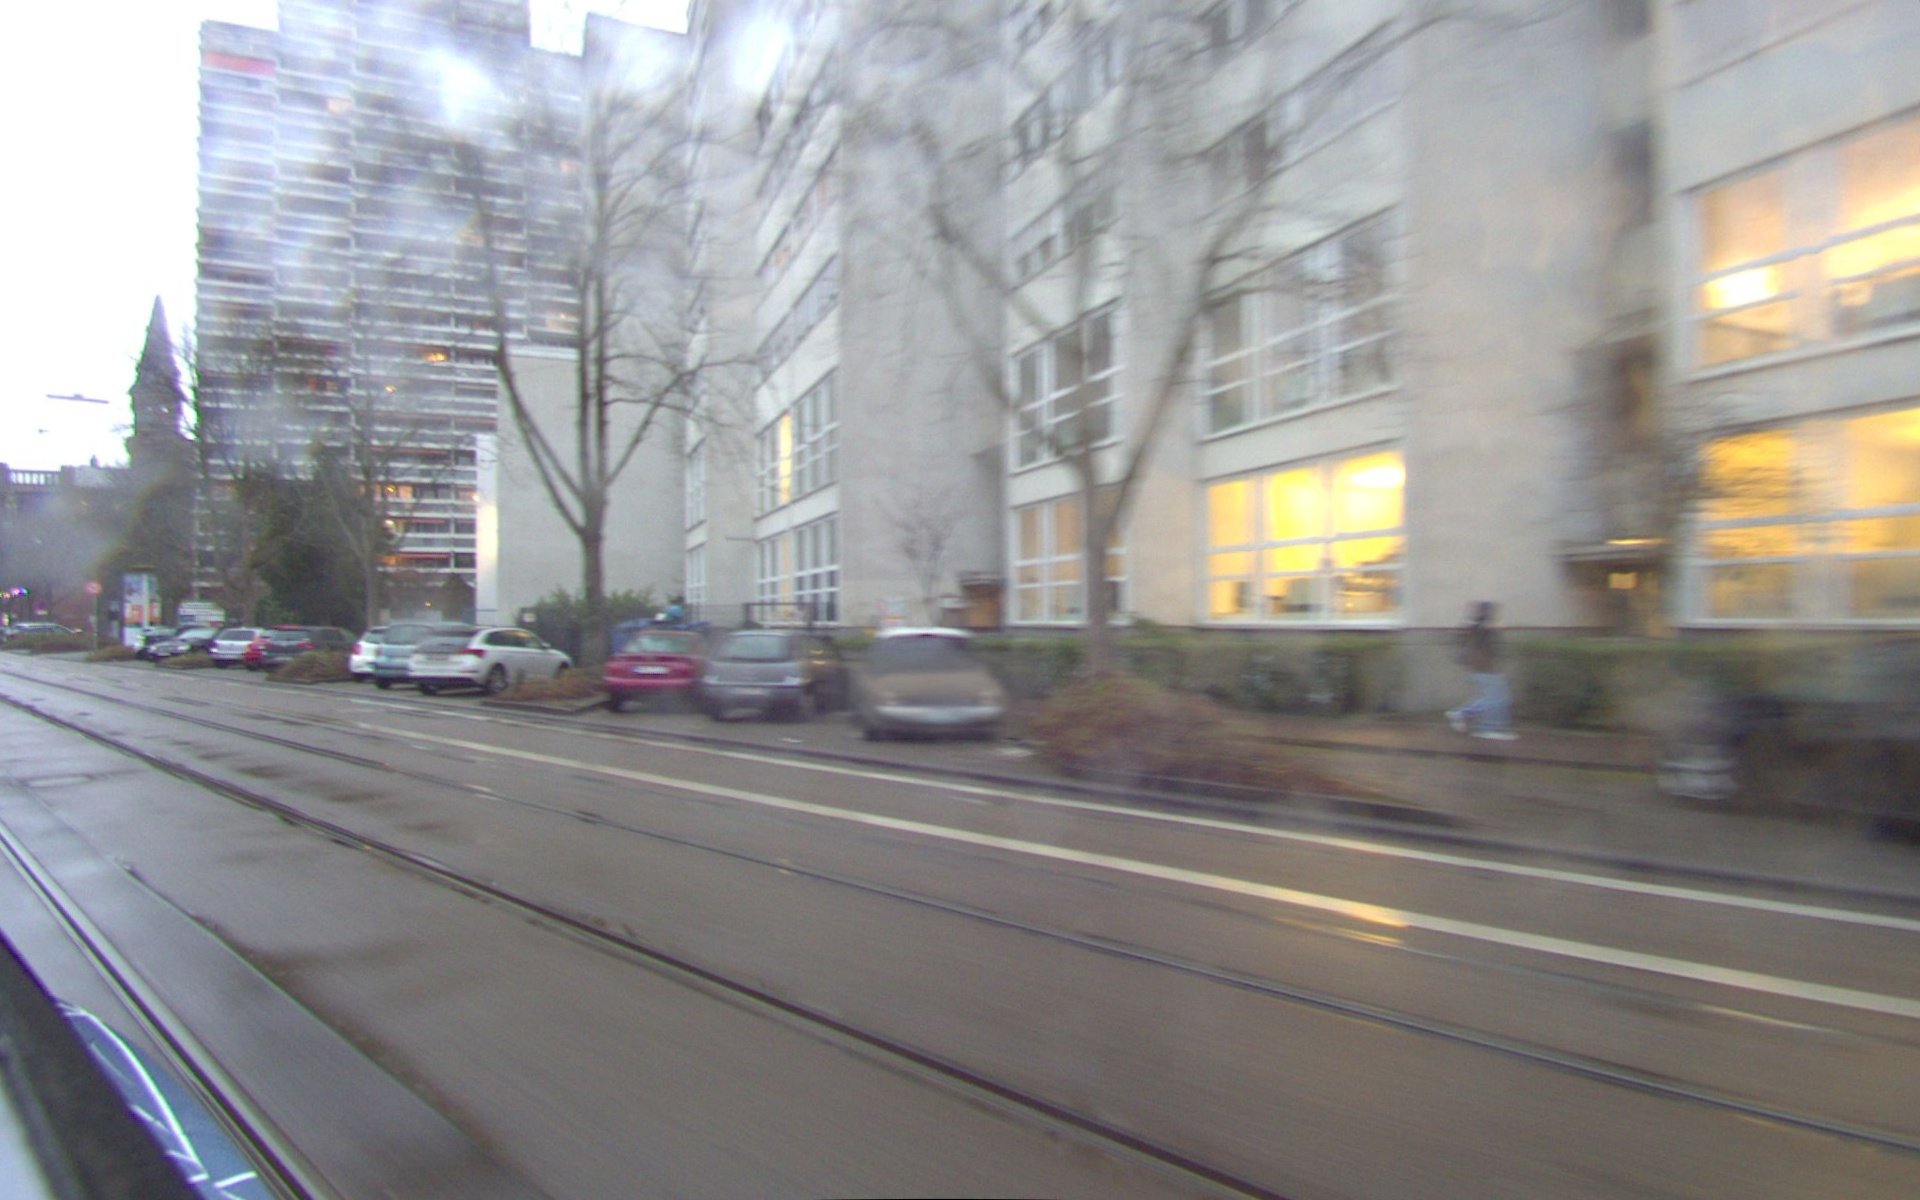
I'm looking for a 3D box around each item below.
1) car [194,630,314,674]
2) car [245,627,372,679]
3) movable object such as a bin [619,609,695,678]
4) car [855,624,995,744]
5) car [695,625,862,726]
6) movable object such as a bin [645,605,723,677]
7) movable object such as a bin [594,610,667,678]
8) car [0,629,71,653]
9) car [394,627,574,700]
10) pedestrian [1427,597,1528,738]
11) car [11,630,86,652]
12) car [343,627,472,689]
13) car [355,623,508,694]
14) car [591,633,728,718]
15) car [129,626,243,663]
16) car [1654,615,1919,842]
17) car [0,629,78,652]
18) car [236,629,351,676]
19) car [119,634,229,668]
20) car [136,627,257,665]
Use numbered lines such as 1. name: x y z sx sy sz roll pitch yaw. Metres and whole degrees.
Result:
1. car: -25.118 1.833 36.187 1.765 1.457 4.004 -1 -2 -5
2. car: -20.381 1.641 31.842 1.671 1.504 3.856 -1 -2 -3
3. movable object such as a bin: -8.457 1.217 28.251 1.393 1.874 1.553 -4 -4 42
4. car: -0.589 1.097 14.341 1.710 1.434 3.856 -1 -2 -5
5. car: -2.906 1.186 17.053 1.715 1.474 3.992 0 -2 6
6. movable object such as a bin: -7.446 1.110 27.315 1.317 1.874 1.553 -4 -4 42
7. movable object such as a bin: -9.496 1.271 29.184 1.317 1.874 1.553 -4 -4 42
8. car: -67.954 3.008 74.339 3.939 1.652 2.002 1 -3 -43
9. car: -10.416 1.341 22.498 1.716 1.455 3.990 0 -2 8
10. pedestrian: 6.452 0.824 12.625 0.972 1.690 0.590 -3 -3 41
11. car: -65.277 2.915 72.514 3.939 1.497 1.674 1 -3 -43
12. car: -15.104 1.552 27.910 1.668 1.563 3.879 -1 -2 -4
13. car: -12.778 1.392 24.748 1.712 1.575 4.000 -1 -2 -1
14. car: -5.358 1.298 18.569 1.722 1.362 4.354 1 -2 -7
15. car: -32.673 1.875 42.867 1.829 1.474 4.000 -1 -2 -1
16. car: 7.134 0.836 6.905 1.804 1.482 4.003 -1 -2 -4
17. car: -63.258 2.772 69.502 3.939 1.497 1.674 1 -3 -43
18. car: -22.672 1.751 34.561 1.705 1.504 3.451 -1 -2 -1
19. car: -34.929 2.247 45.115 1.829 1.410 4.000 -1 -2 -1
20. car: -30.044 1.802 39.991 1.829 1.389 4.000 -1 -2 -1
